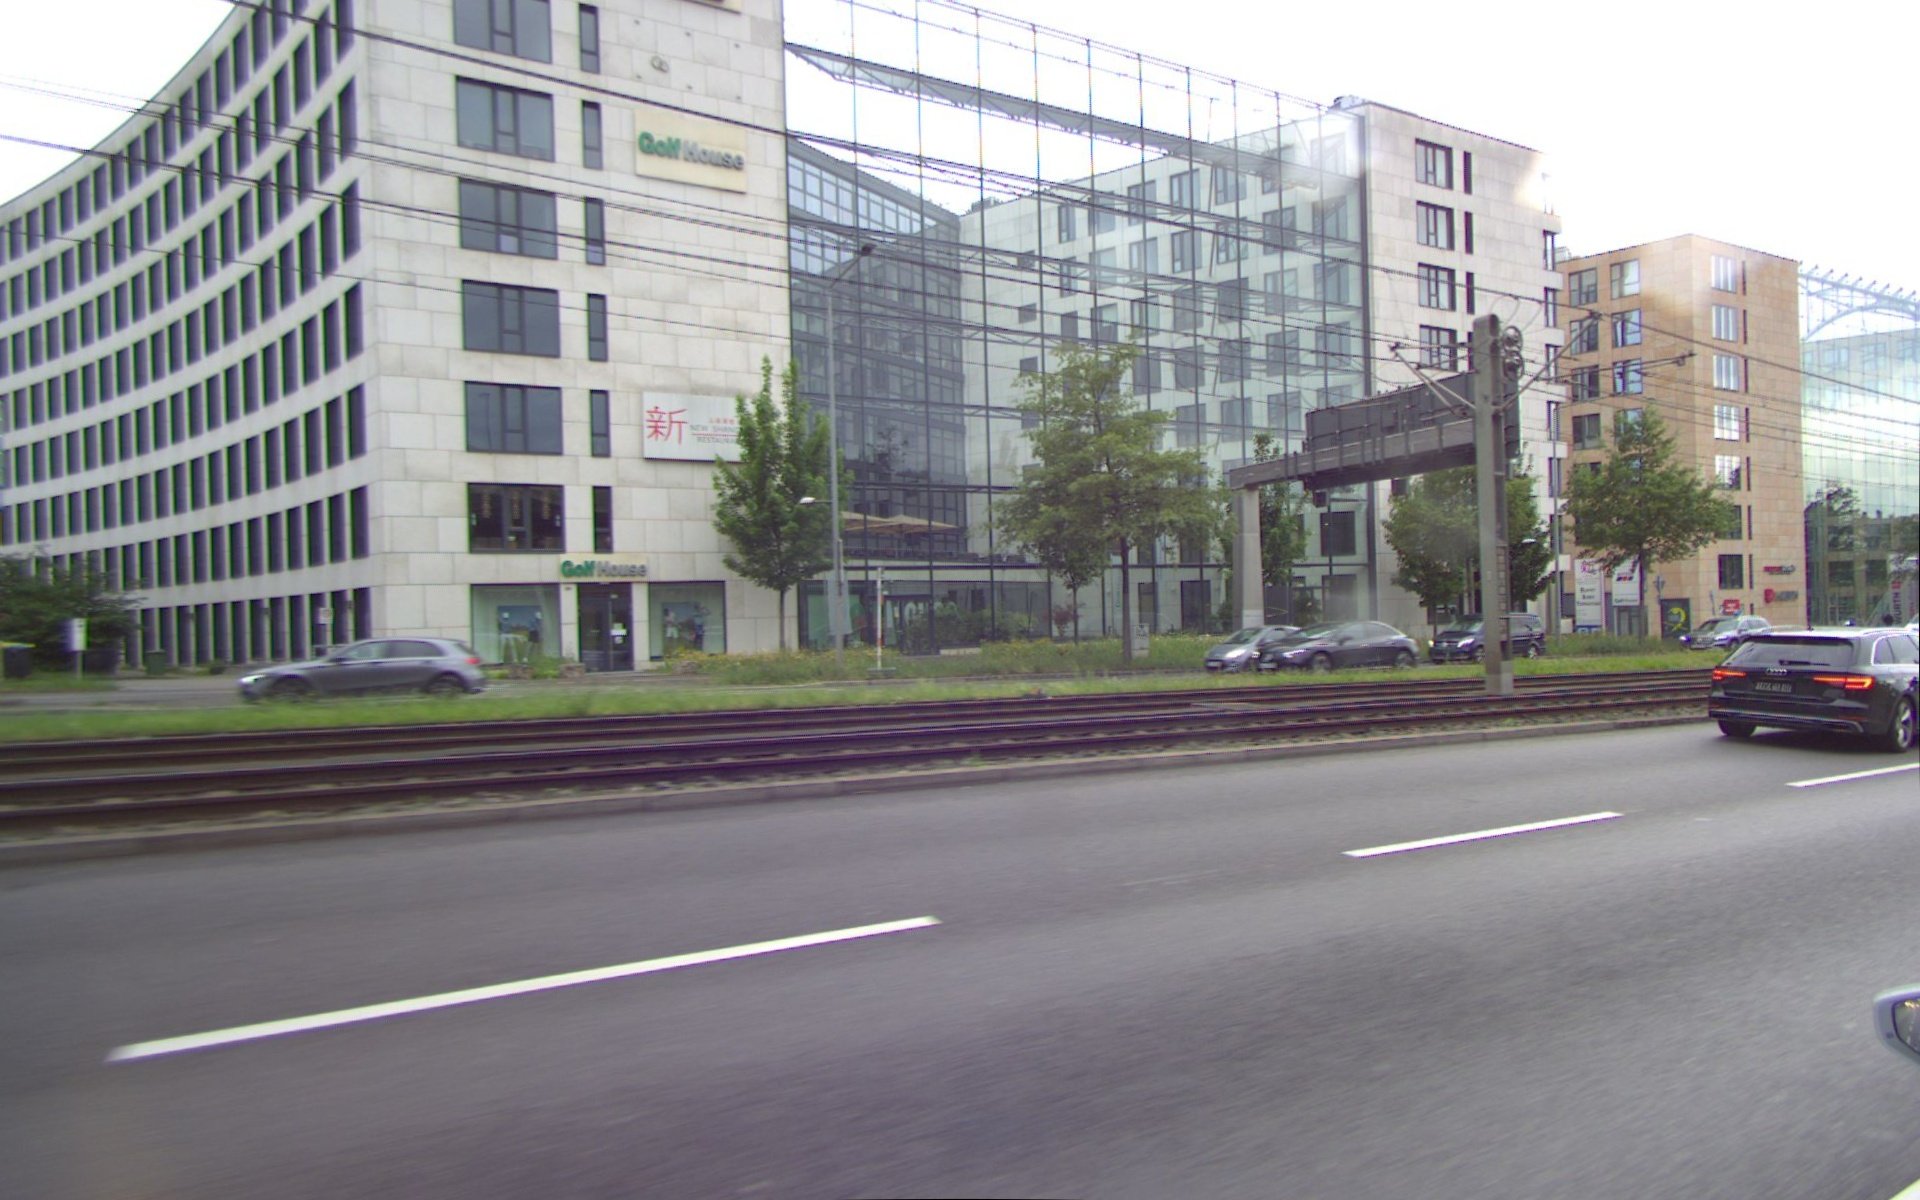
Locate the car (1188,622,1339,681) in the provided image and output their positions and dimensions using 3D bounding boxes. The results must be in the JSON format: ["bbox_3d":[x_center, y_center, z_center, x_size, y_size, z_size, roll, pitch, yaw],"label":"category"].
[{"bbox_3d":[8.903,1.468,29.439,4.221,1.554,1.802,0,0,-28],"label":"car"}]

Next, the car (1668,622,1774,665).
[{"bbox_3d":[31.515,1.760,41.600,4.434,1.627,1.802,0,0,-28],"label":"car"}]

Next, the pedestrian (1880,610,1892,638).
[{"bbox_3d":[64.101,1.660,69.524,0.471,1.851,0.422,2,0,-31],"label":"pedestrian"}]

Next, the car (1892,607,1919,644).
[{"bbox_3d":[48.920,1.278,50.180,4.998,1.785,1.930,0,0,-28],"label":"car"}]

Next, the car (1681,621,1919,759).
[{"bbox_3d":[11.446,1.019,12.872,4.748,1.432,1.778,0,0,-30],"label":"car"}]

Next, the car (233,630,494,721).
[{"bbox_3d":[-12.077,1.466,20.670,4.434,1.619,1.757,0,0,-28],"label":"car"}]

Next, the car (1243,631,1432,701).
[{"bbox_3d":[9.651,1.617,25.582,4.808,1.554,1.802,0,0,-28],"label":"car"}]

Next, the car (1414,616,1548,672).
[{"bbox_3d":[19.917,1.628,38.385,5.068,1.978,2.050,0,0,-28],"label":"car"}]
